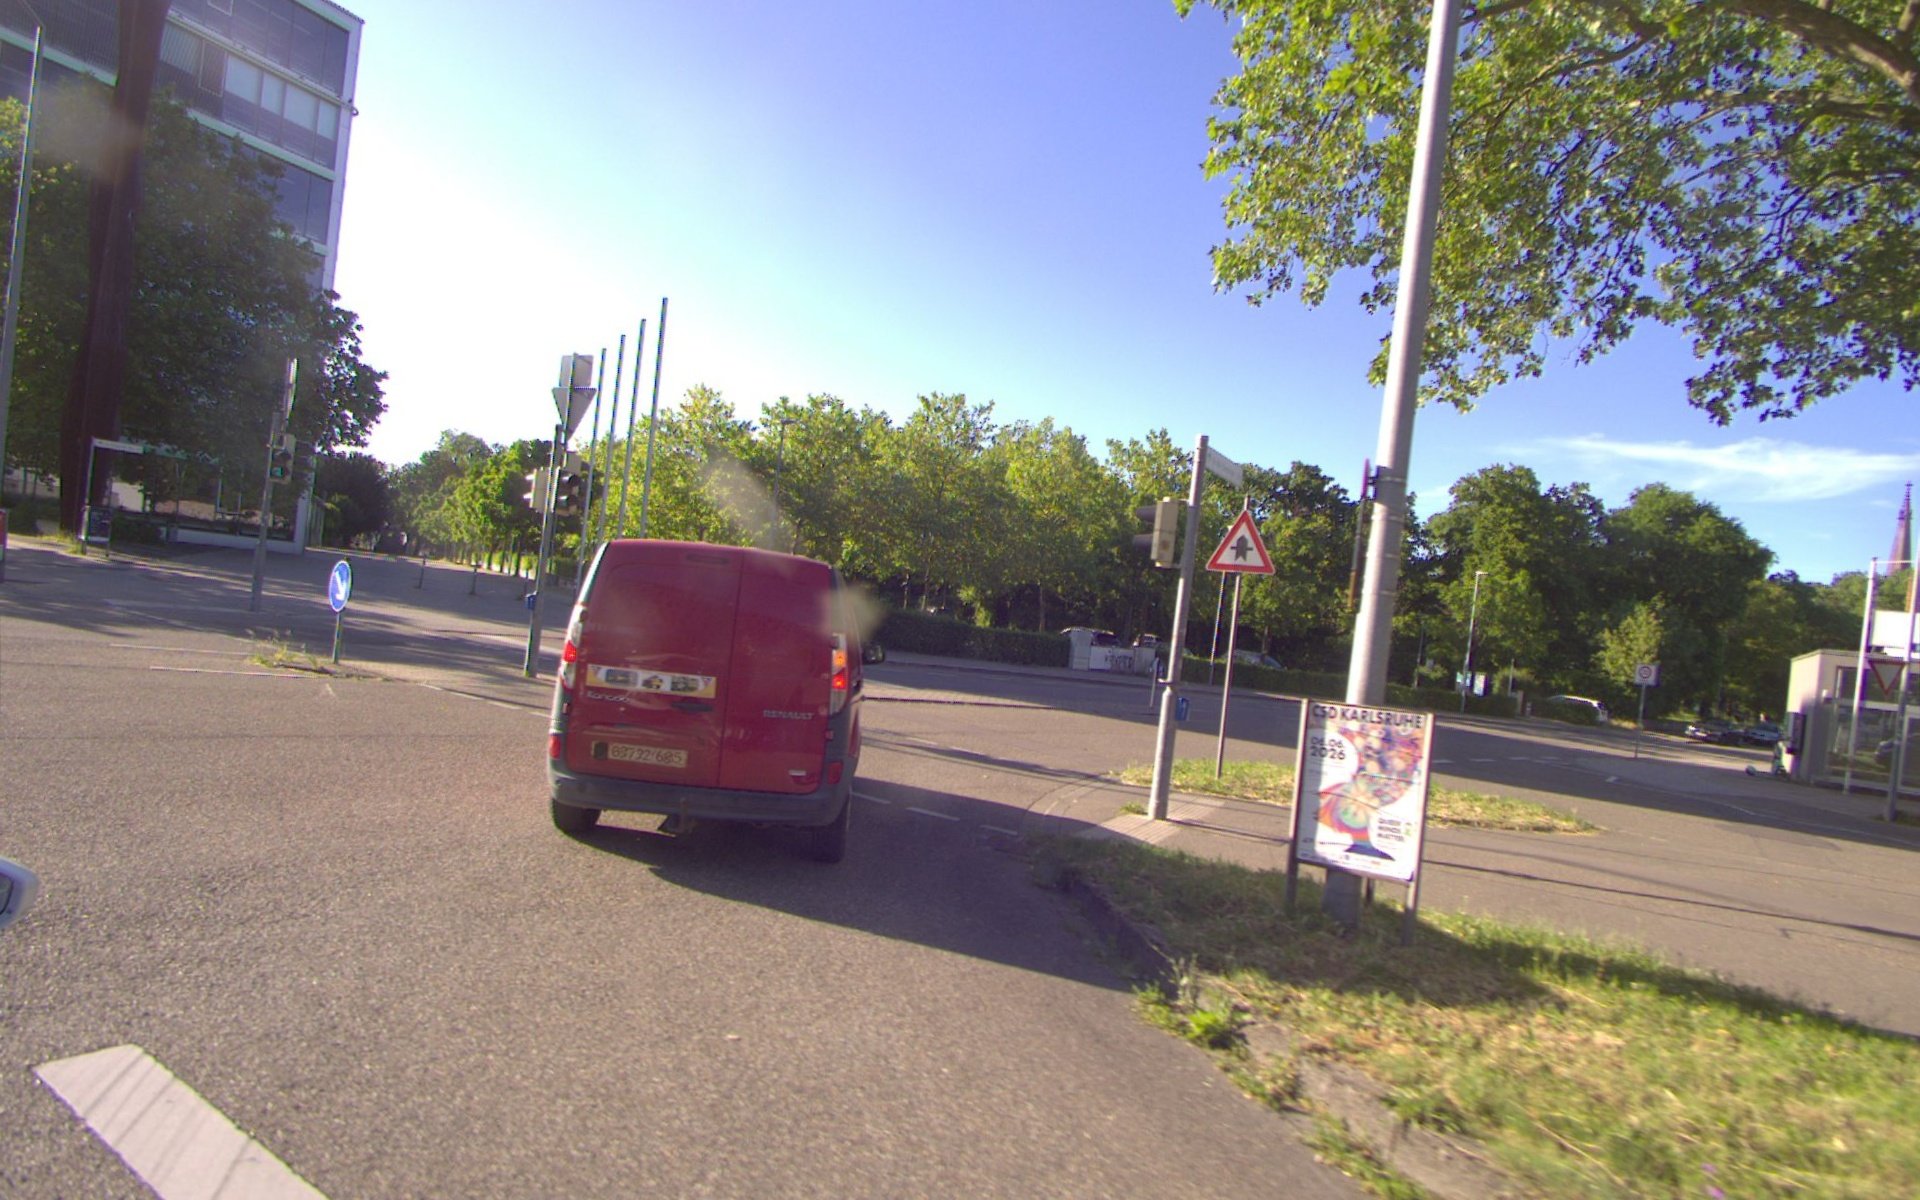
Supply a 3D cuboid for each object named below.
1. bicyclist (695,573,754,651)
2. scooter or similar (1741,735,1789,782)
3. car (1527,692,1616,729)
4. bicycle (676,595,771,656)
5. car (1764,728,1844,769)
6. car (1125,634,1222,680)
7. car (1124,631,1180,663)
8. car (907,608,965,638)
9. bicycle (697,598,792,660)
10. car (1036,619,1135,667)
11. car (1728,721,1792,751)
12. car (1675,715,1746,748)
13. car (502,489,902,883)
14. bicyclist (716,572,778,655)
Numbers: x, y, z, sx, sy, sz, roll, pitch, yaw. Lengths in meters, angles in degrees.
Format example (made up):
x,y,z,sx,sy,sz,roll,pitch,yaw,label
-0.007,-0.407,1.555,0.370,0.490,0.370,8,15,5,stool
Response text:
x,y,z,sx,sy,sz,roll,pitch,yaw,label
-5.495,0.287,23.489,0.782,1.674,0.873,8,1,41,bicyclist
22.968,4.519,28.718,0.258,1.177,1.010,7,0,-13,scooter or similar
36.715,6.631,60.455,1.983,1.482,3.981,9,-2,-35,car
-5.487,0.608,23.489,0.544,1.218,2.093,8,0,43,bicycle
38.283,6.751,45.627,3.969,1.483,1.978,8,-1,-39,car
9.599,2.538,45.579,1.981,1.482,3.967,9,-2,-32,car
14.064,3.438,73.589,1.974,1.480,3.985,8,-4,45,car
-1.665,1.579,69.627,1.983,1.482,3.962,9,-2,-35,car
-4.876,0.674,22.892,0.543,1.218,2.095,8,0,40,bicycle
5.254,1.787,42.671,1.981,1.482,3.967,9,-2,-32,car
51.963,8.822,65.288,4.432,1.483,1.981,8,-1,-35,car
44.425,7.788,59.499,4.432,1.483,1.981,8,-1,-35,car
-1.557,0.534,7.315,1.822,1.835,4.113,8,-2,-6,car
-4.840,0.311,22.856,0.820,1.759,0.873,8,1,41,bicyclist
